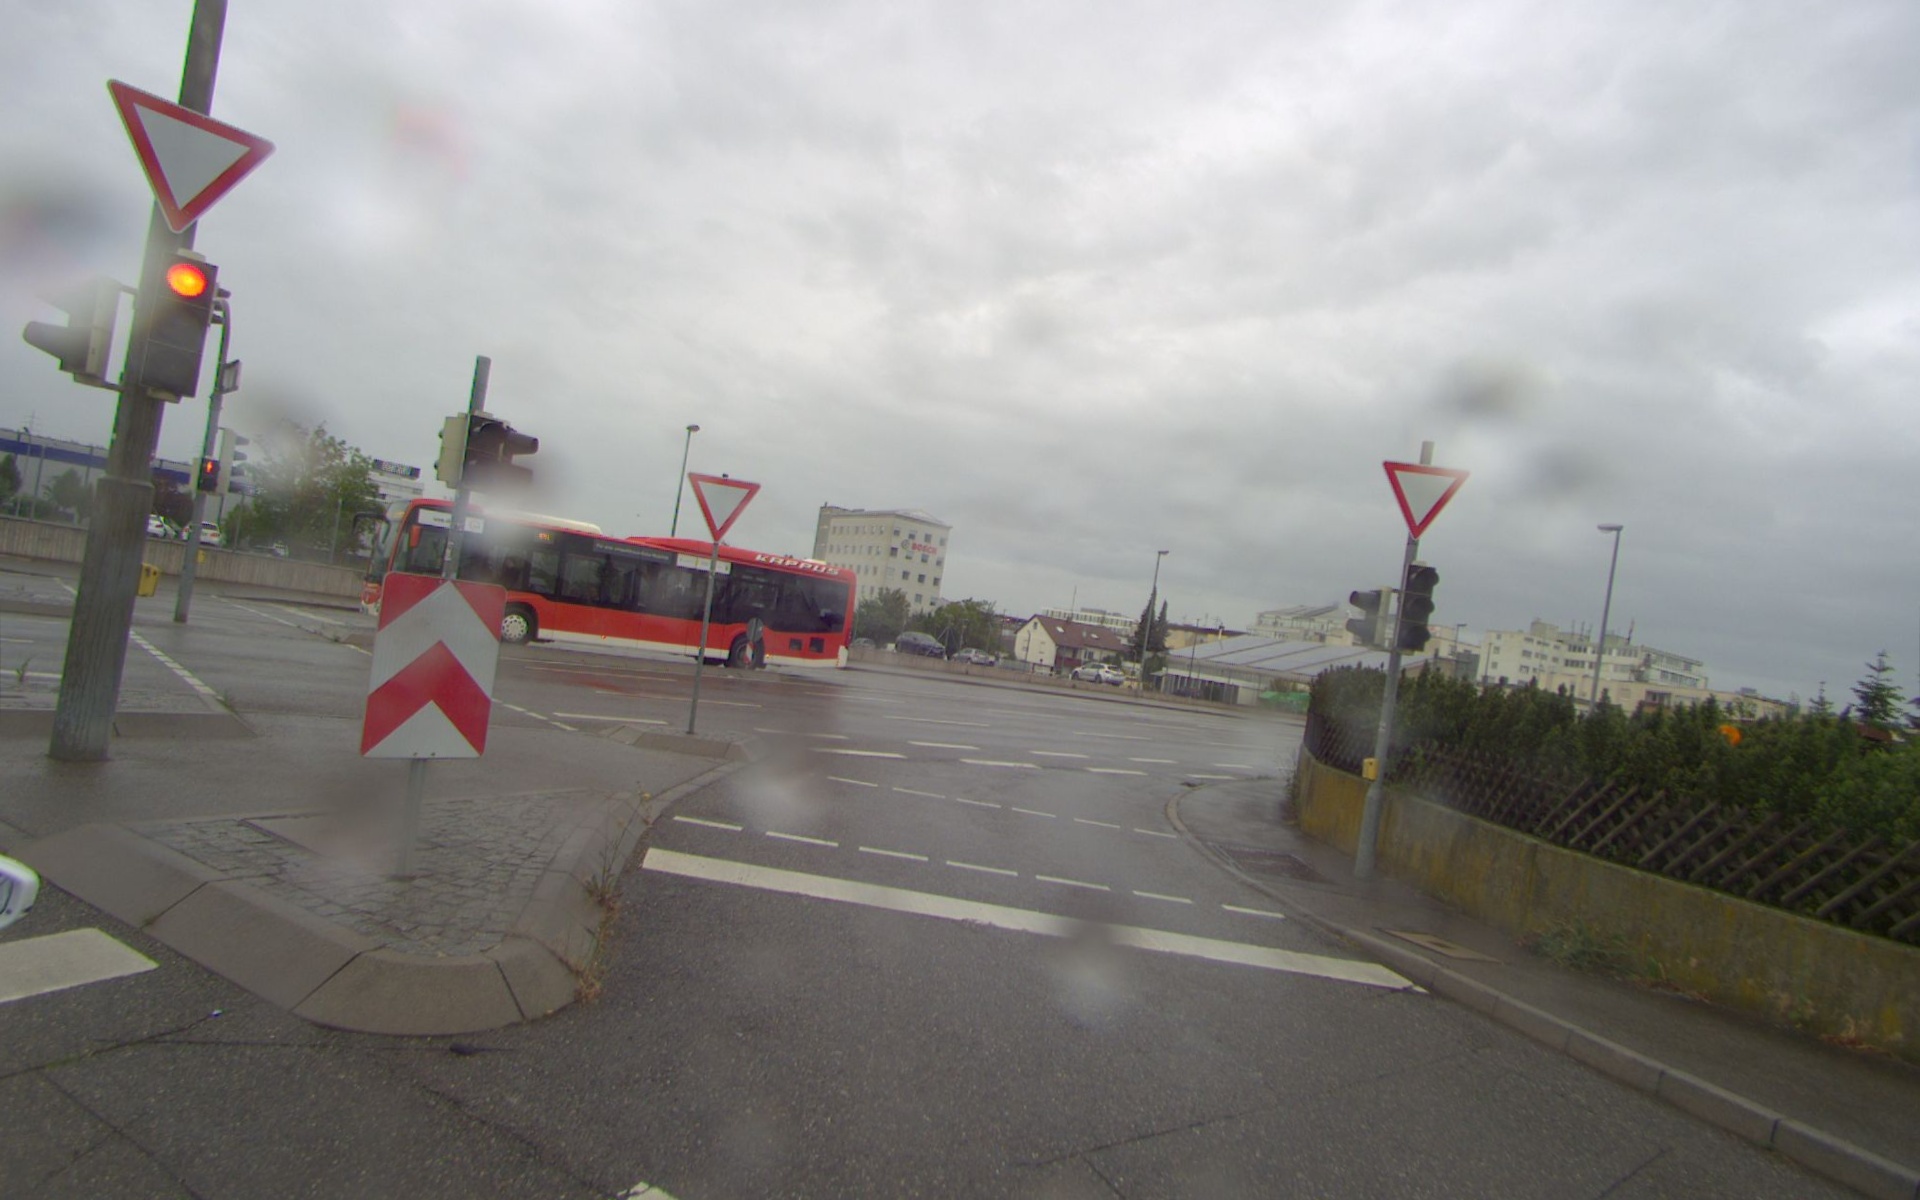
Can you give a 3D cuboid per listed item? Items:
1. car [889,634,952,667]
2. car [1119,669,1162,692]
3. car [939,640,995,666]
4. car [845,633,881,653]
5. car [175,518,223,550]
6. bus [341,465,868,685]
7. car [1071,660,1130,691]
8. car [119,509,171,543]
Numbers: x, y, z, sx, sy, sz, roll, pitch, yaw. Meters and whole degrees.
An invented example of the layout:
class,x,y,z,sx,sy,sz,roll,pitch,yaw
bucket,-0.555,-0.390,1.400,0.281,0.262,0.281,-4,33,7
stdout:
class,x,y,z,sx,sy,sz,roll,pitch,yaw
car,-2.469,3.082,61.949,1.983,1.495,3.964,9,-2,-34
car,17.961,7.998,100.071,3.760,1.771,1.887,9,-2,-29
car,0.547,4.363,82.219,3.951,1.494,1.989,9,-2,-24
car,-9.742,4.312,100.572,1.979,1.494,3.971,9,-2,-29
car,-43.893,-3.810,58.020,1.986,1.495,3.958,10,-2,-38
bus,-8.362,-0.282,25.846,12.247,3.357,3.039,12,-3,-41
car,9.740,5.243,70.047,1.979,1.494,3.971,9,-2,-29
car,-45.613,-4.135,56.352,1.985,1.495,3.959,10,-2,-38
